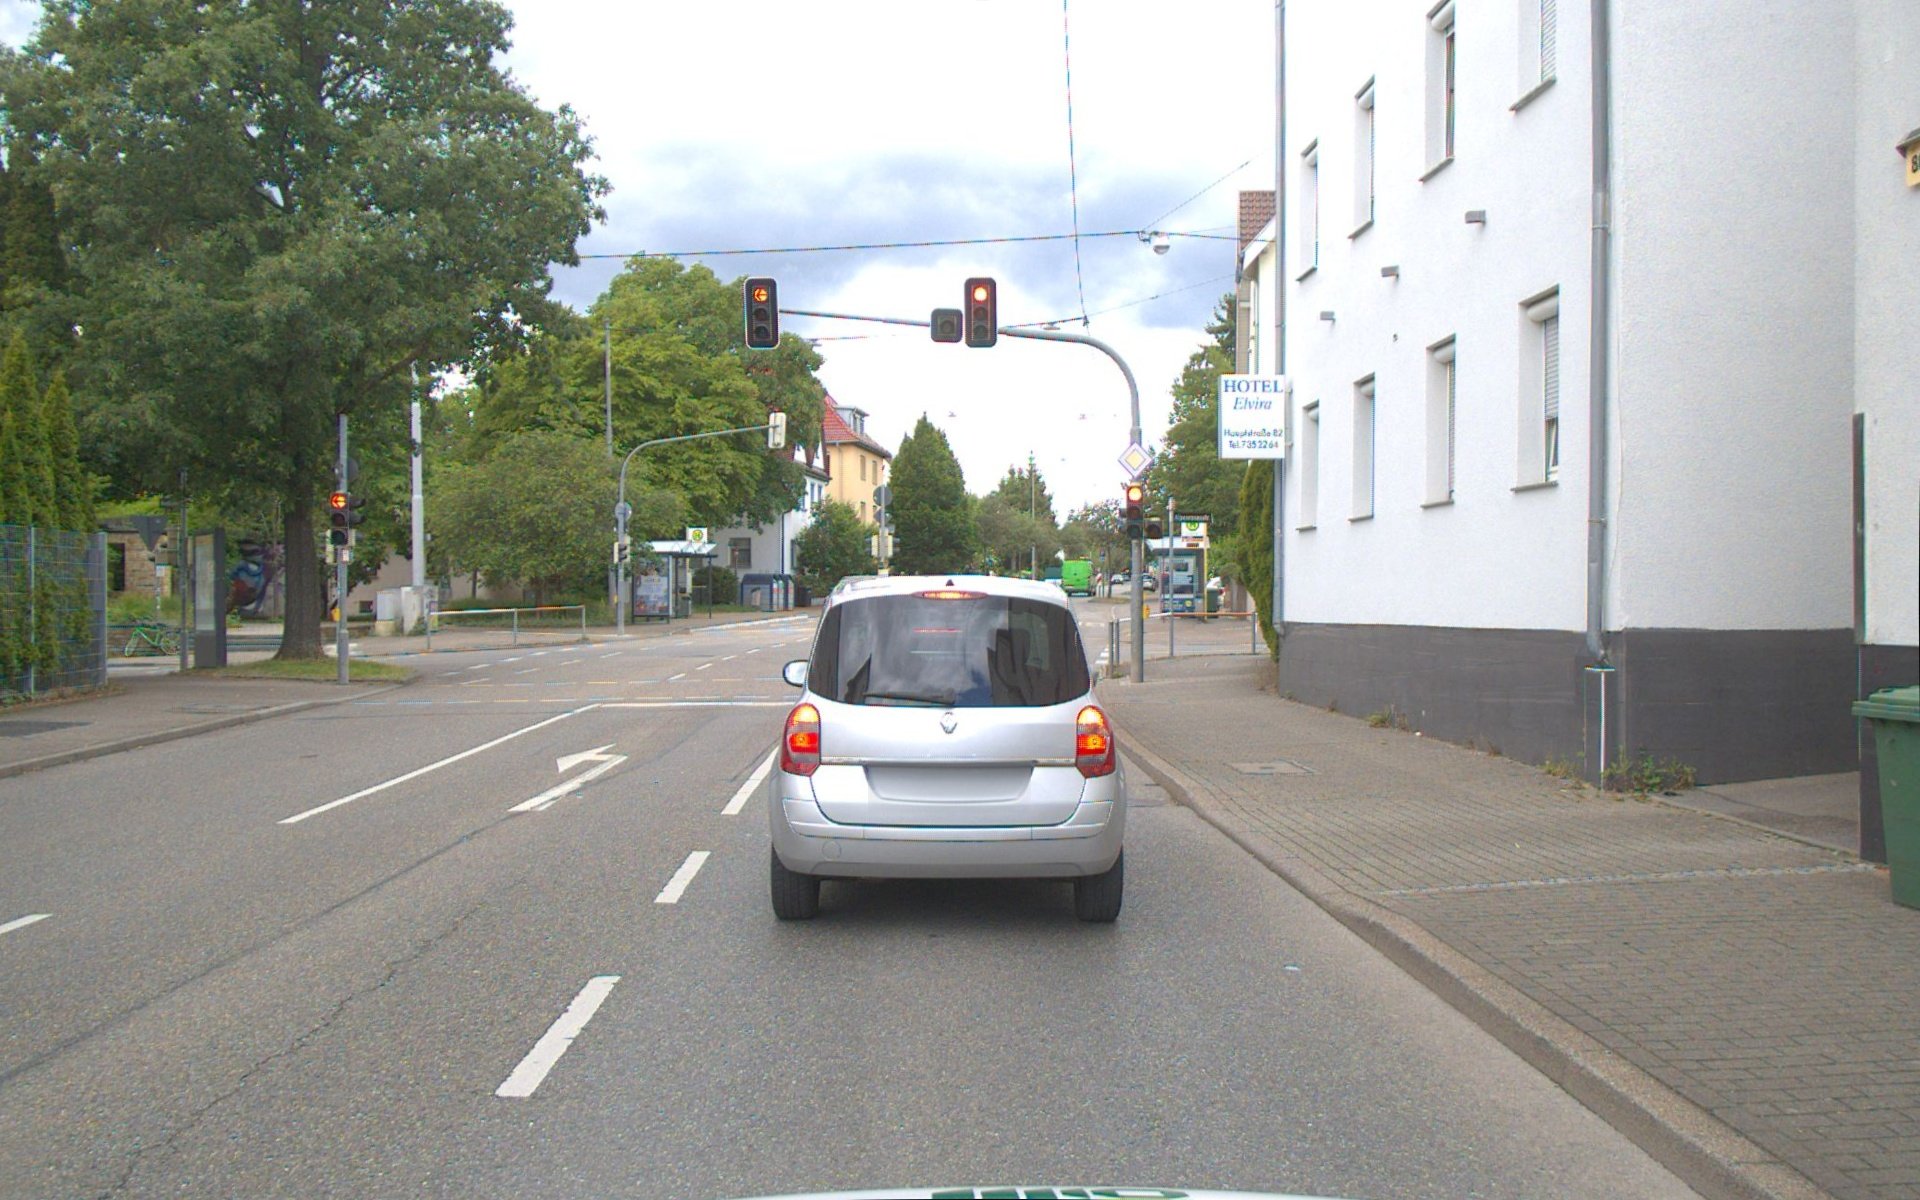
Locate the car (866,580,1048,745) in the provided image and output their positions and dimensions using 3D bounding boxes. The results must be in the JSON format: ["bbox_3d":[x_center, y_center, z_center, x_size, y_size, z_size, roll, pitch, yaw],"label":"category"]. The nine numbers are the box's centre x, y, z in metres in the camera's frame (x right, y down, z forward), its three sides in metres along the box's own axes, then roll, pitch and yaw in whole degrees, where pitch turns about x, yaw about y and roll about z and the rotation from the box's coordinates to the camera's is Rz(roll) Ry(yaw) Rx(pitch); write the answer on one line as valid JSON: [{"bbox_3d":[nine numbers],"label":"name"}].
[{"bbox_3d":[-0.064,0.594,17.712,1.719,1.557,3.796,1,0,-1],"label":"car"}]

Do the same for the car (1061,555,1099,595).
[{"bbox_3d":[8.046,-1.617,110.555,2.015,2.556,5.600,1,0,9],"label":"car"}]

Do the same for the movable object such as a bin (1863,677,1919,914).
[{"bbox_3d":[4.239,0.817,7.003,0.529,0.957,0.487,-2,0,-1],"label":"movable object such as a bin"}]

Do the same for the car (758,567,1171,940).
[{"bbox_3d":[-0.018,0.645,8.964,1.719,1.557,3.999,1,0,-1],"label":"car"}]

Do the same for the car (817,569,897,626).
[{"bbox_3d":[-3.579,-0.112,58.227,1.885,1.804,4.004,-4,0,9],"label":"car"}]

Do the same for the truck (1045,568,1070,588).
[{"bbox_3d":[10.073,-2.250,170.778,2.056,2.049,5.752,1,0,9],"label":"truck"}]
